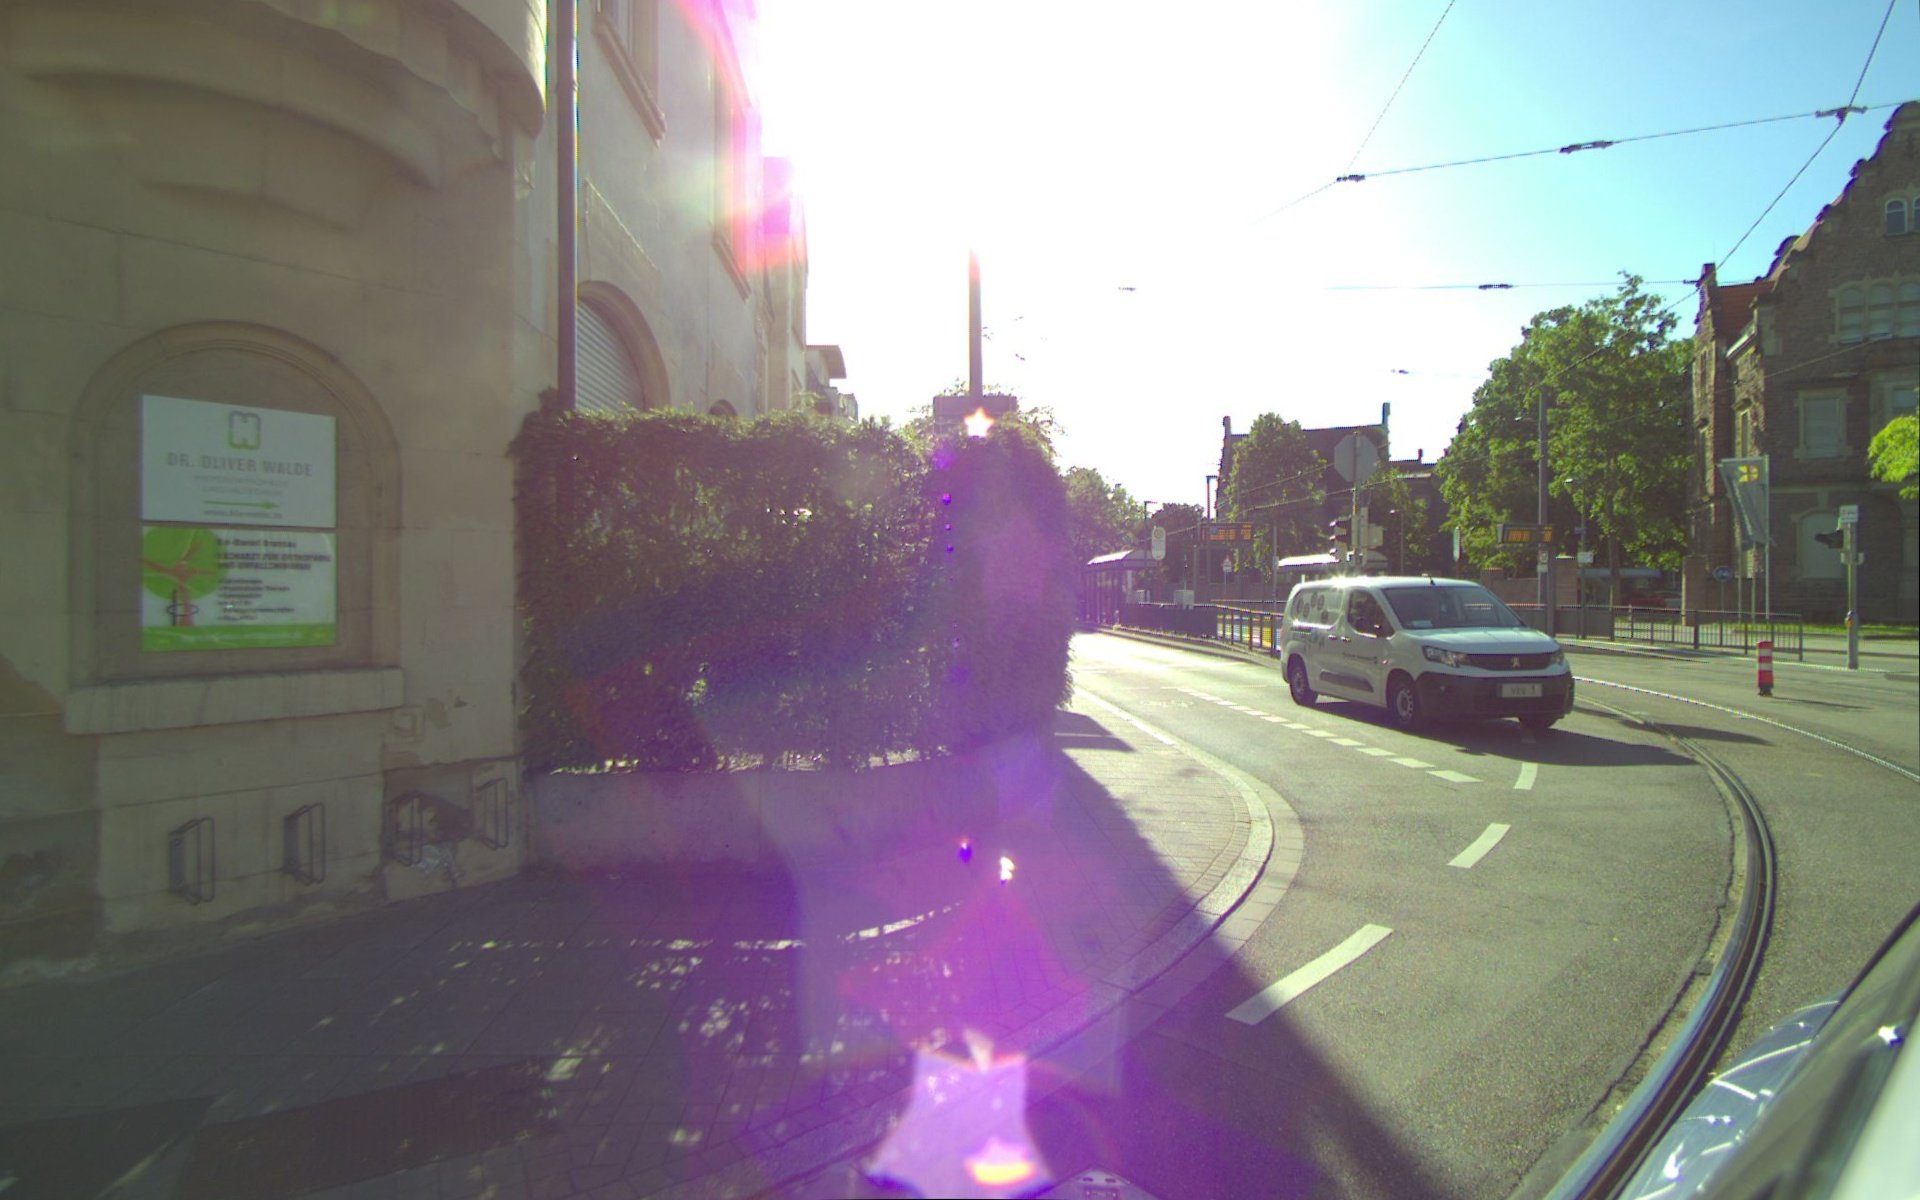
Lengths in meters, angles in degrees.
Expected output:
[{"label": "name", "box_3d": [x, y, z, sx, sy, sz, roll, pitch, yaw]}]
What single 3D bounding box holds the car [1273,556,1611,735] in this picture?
[{"label": "car", "box_3d": [5.855, 0.433, 13.094, 1.822, 1.821, 4.701, -2, 1, -4]}]
